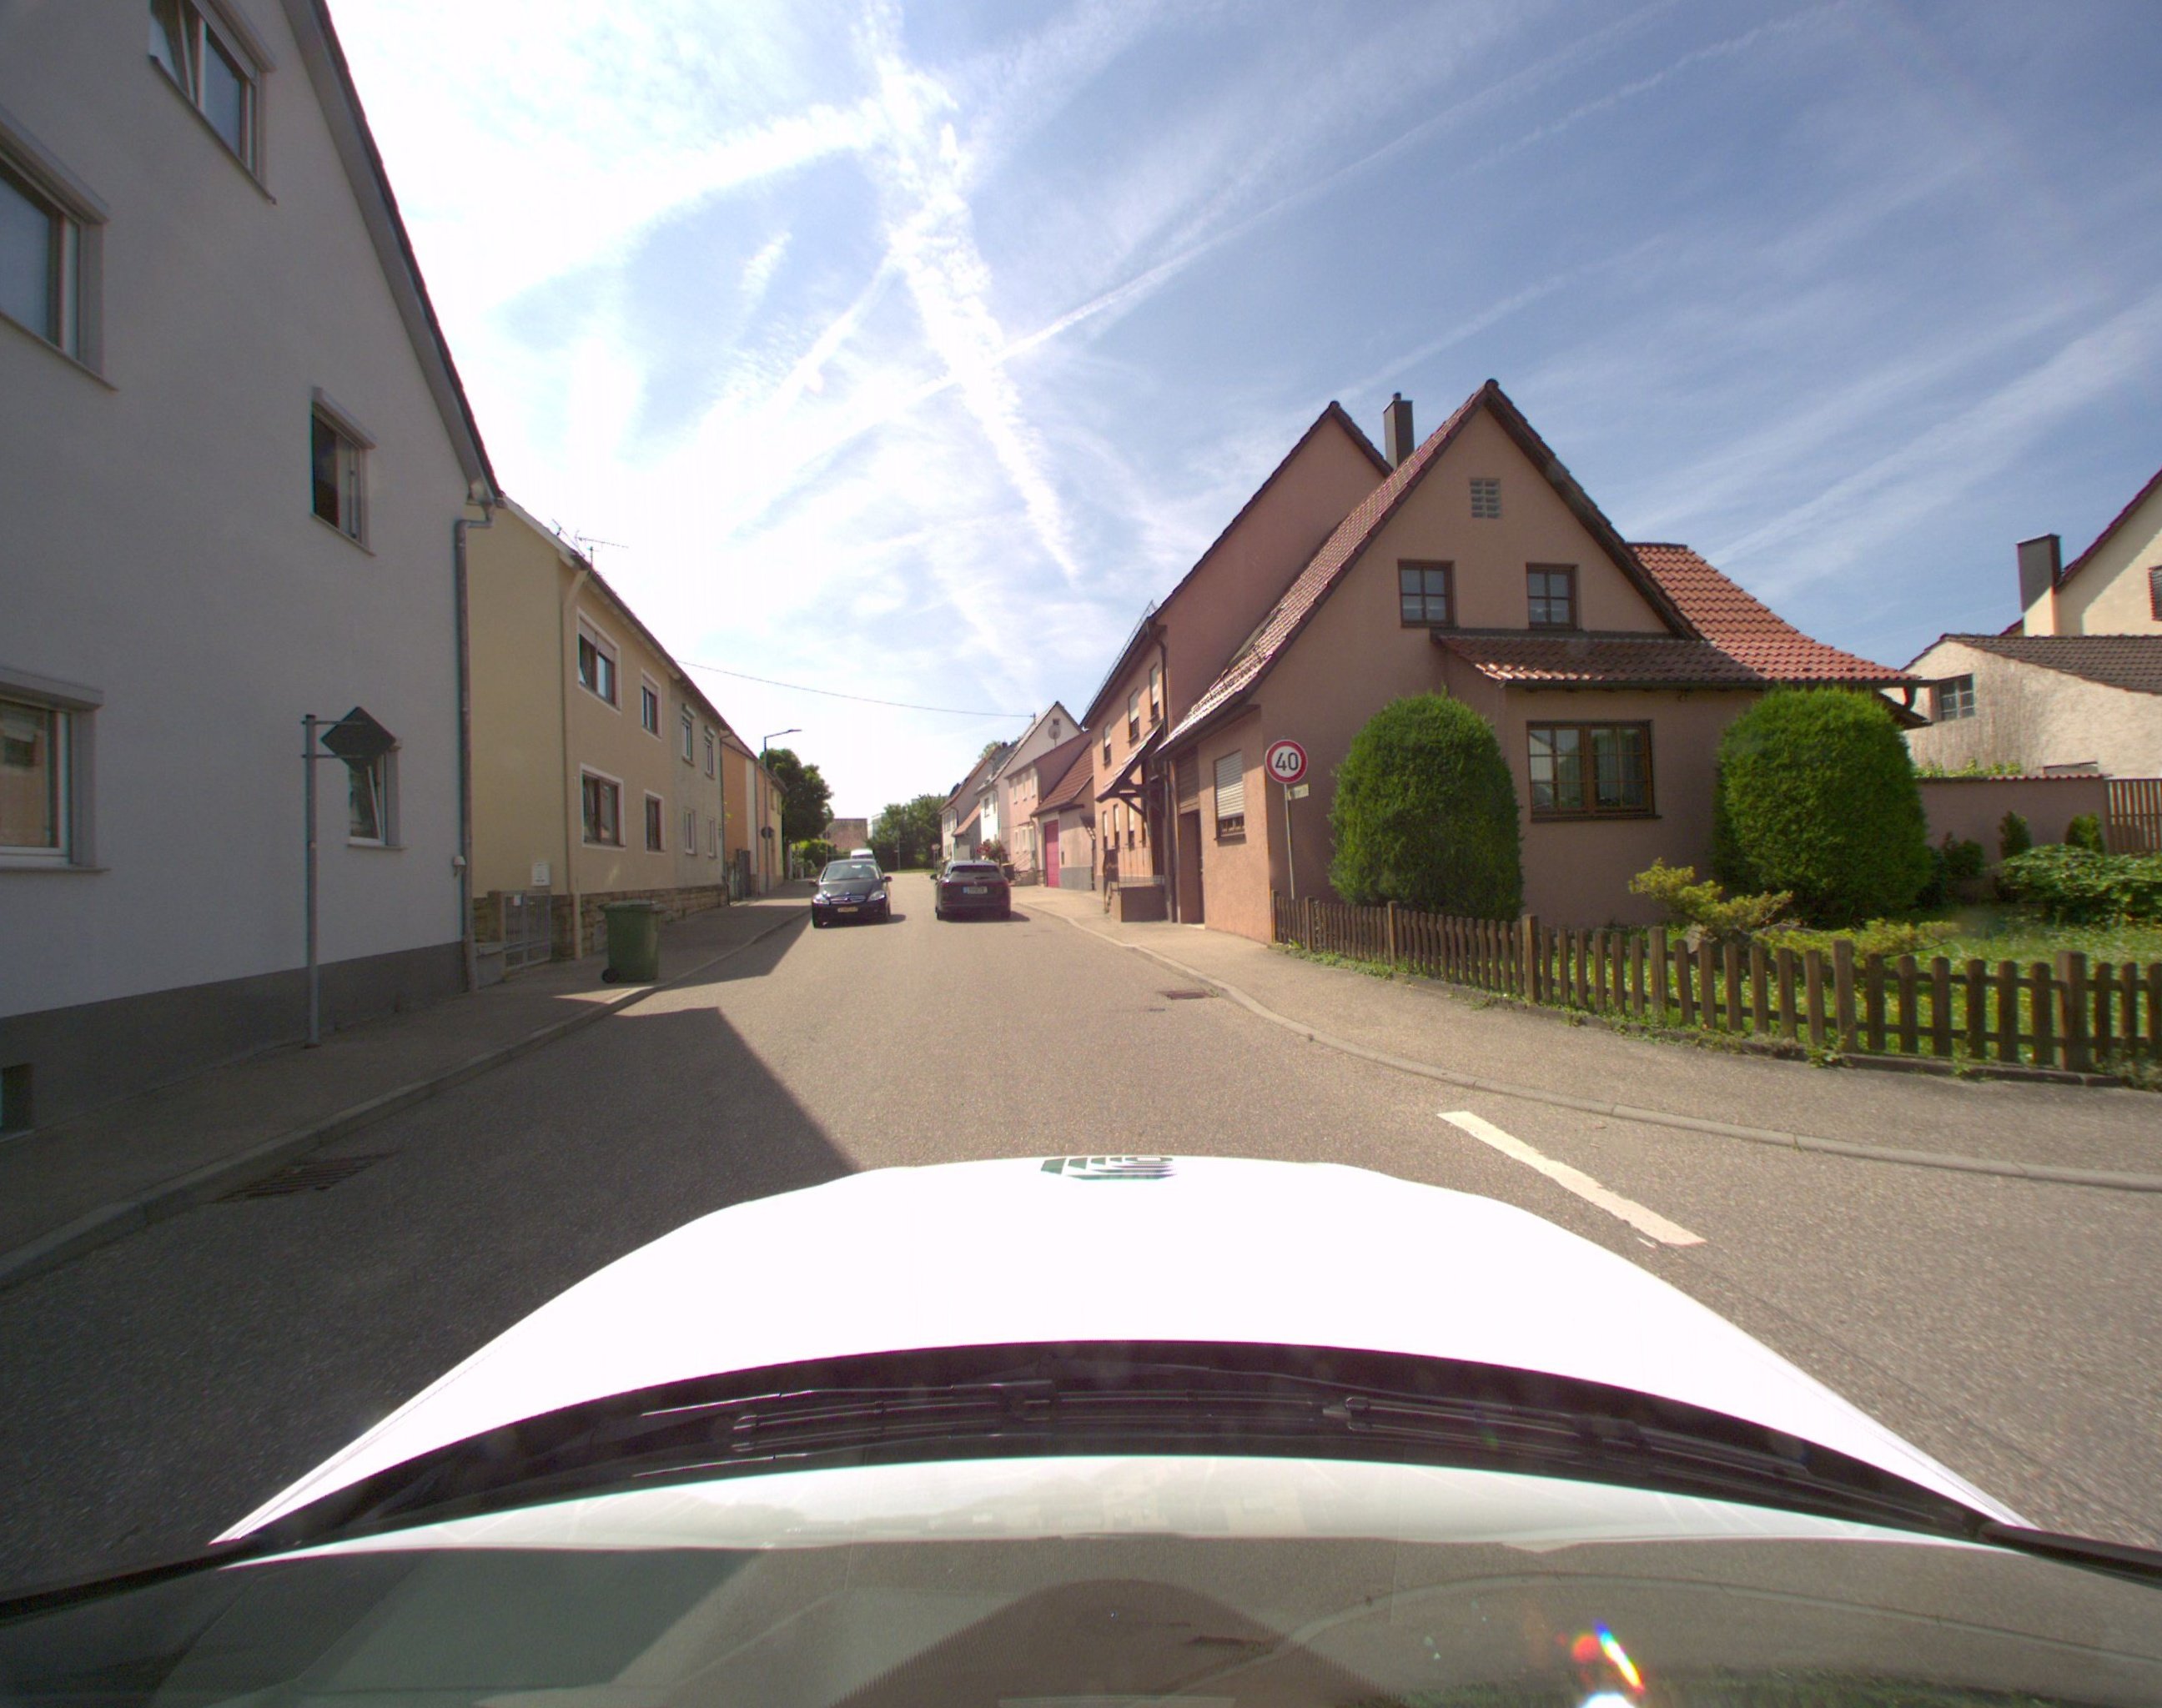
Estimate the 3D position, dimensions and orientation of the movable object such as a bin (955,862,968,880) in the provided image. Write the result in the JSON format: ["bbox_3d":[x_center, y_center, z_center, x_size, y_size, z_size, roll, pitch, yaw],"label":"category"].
[{"bbox_3d":[-7.798,1.115,53.230,0.680,1.155,0.815,-1,-1,-20],"label":"movable object such as a bin"}]

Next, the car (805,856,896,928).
[{"bbox_3d":[-5.751,0.878,20.738,1.800,1.555,4.055,-3,0,-11],"label":"car"}]

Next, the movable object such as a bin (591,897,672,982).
[{"bbox_3d":[-6.093,1.140,11.081,0.753,1.060,0.677,-1,0,-9],"label":"movable object such as a bin"}]

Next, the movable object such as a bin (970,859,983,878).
[{"bbox_3d":[-6.808,0.953,53.032,0.666,1.194,0.656,-1,0,-16],"label":"movable object such as a bin"}]

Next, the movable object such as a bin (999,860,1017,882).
[{"bbox_3d":[-3.924,0.903,43.541,0.680,1.050,0.829,-6,1,-20],"label":"movable object such as a bin"}]

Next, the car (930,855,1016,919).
[{"bbox_3d":[-2.896,0.793,21.005,1.843,1.420,4.662,-1,-1,-12],"label":"car"}]

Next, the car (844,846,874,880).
[{"bbox_3d":[-18.166,0.748,66.844,2.118,2.562,5.798,-2,0,-14],"label":"car"}]
